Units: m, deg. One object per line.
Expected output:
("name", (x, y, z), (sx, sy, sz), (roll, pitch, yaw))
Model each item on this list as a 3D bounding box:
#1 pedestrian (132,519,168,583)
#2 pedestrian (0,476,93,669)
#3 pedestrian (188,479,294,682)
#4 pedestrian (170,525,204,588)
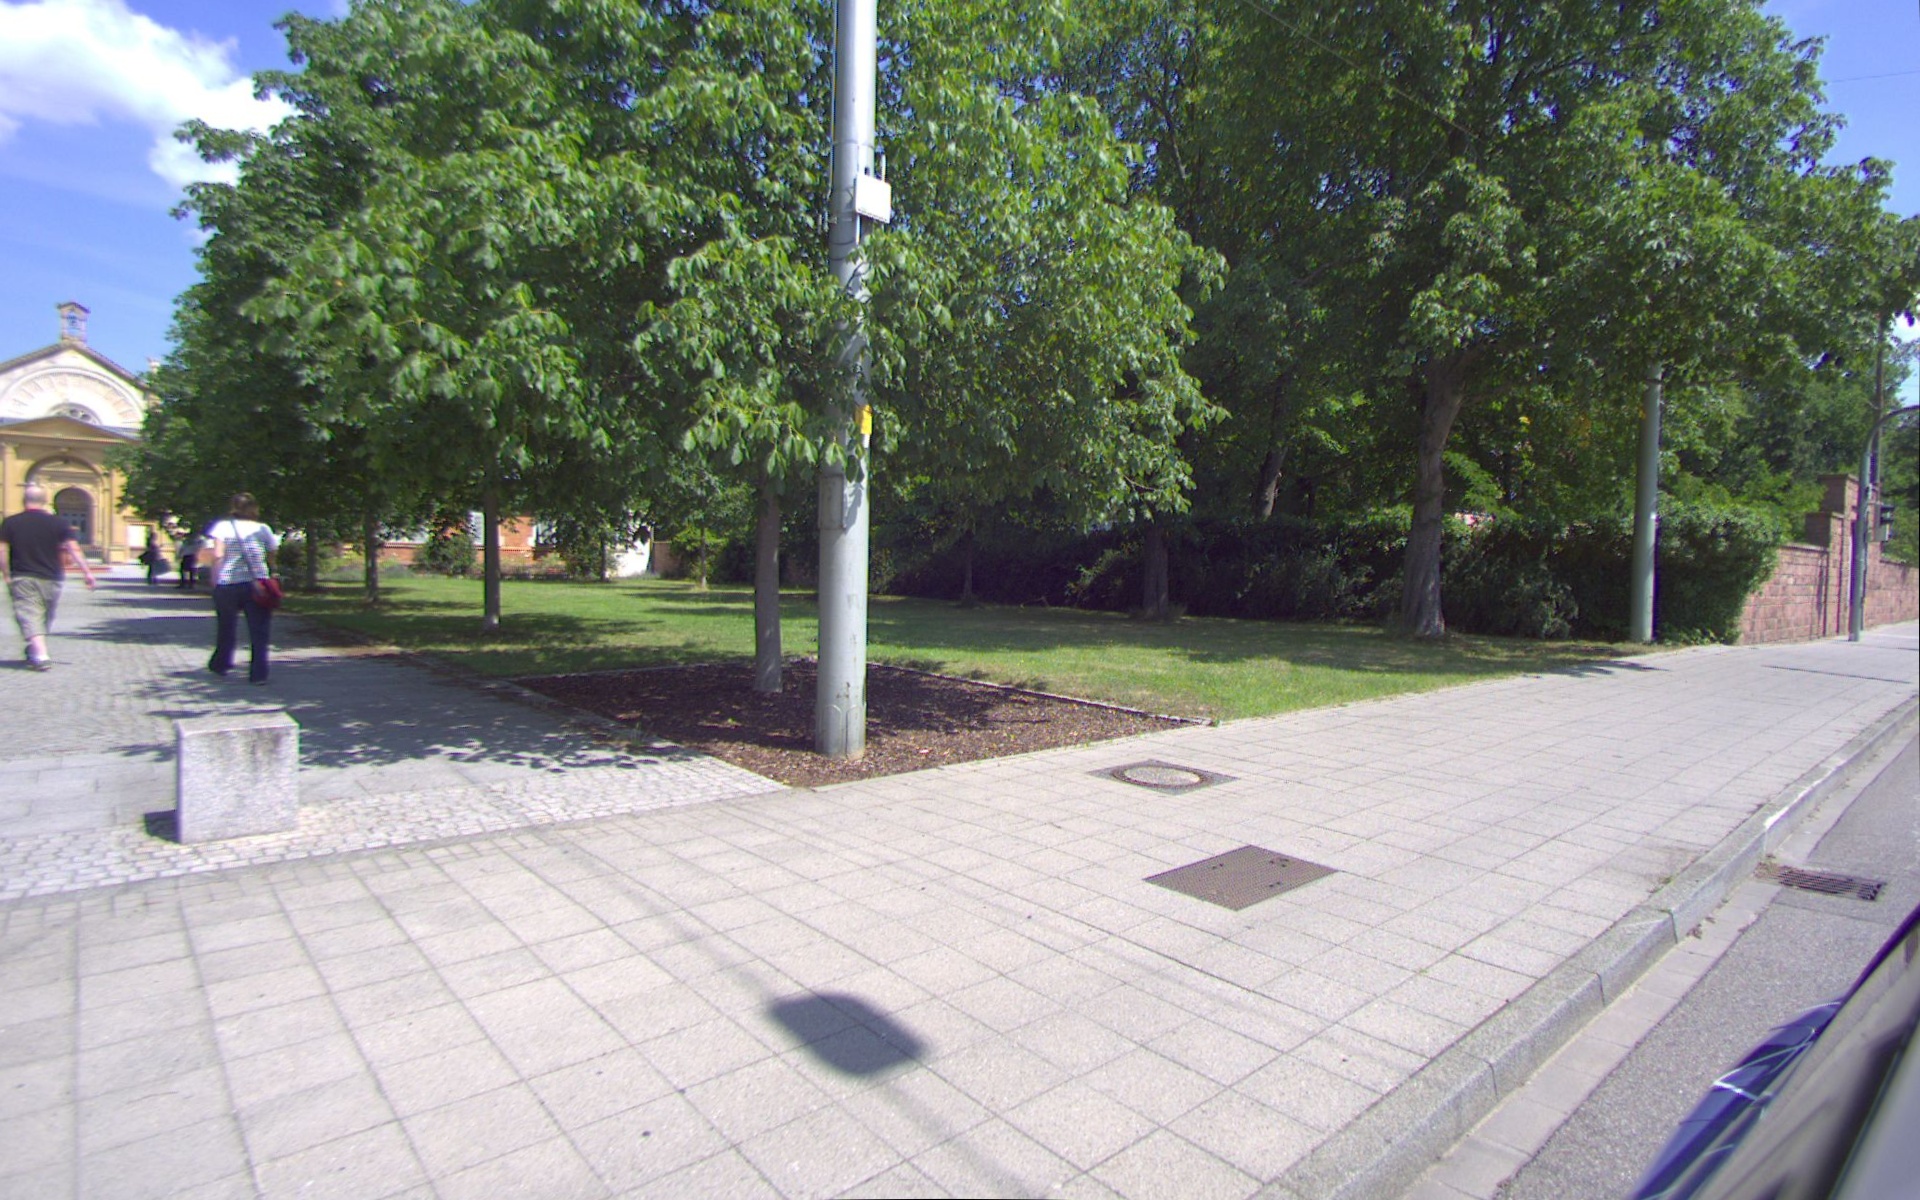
("pedestrian", (-23.621, -1.418, 29.511), (0.794, 1.820, 0.678), (0, 2, -37))
("pedestrian", (-9.007, -0.271, 9.862), (0.794, 1.802, 0.678), (0, 2, -37))
("pedestrian", (-6.824, -0.190, 9.611), (0.794, 1.820, 0.678), (0, 2, -37))
("pedestrian", (-22.592, -1.269, 29.590), (0.794, 1.820, 0.678), (0, 2, -37))
